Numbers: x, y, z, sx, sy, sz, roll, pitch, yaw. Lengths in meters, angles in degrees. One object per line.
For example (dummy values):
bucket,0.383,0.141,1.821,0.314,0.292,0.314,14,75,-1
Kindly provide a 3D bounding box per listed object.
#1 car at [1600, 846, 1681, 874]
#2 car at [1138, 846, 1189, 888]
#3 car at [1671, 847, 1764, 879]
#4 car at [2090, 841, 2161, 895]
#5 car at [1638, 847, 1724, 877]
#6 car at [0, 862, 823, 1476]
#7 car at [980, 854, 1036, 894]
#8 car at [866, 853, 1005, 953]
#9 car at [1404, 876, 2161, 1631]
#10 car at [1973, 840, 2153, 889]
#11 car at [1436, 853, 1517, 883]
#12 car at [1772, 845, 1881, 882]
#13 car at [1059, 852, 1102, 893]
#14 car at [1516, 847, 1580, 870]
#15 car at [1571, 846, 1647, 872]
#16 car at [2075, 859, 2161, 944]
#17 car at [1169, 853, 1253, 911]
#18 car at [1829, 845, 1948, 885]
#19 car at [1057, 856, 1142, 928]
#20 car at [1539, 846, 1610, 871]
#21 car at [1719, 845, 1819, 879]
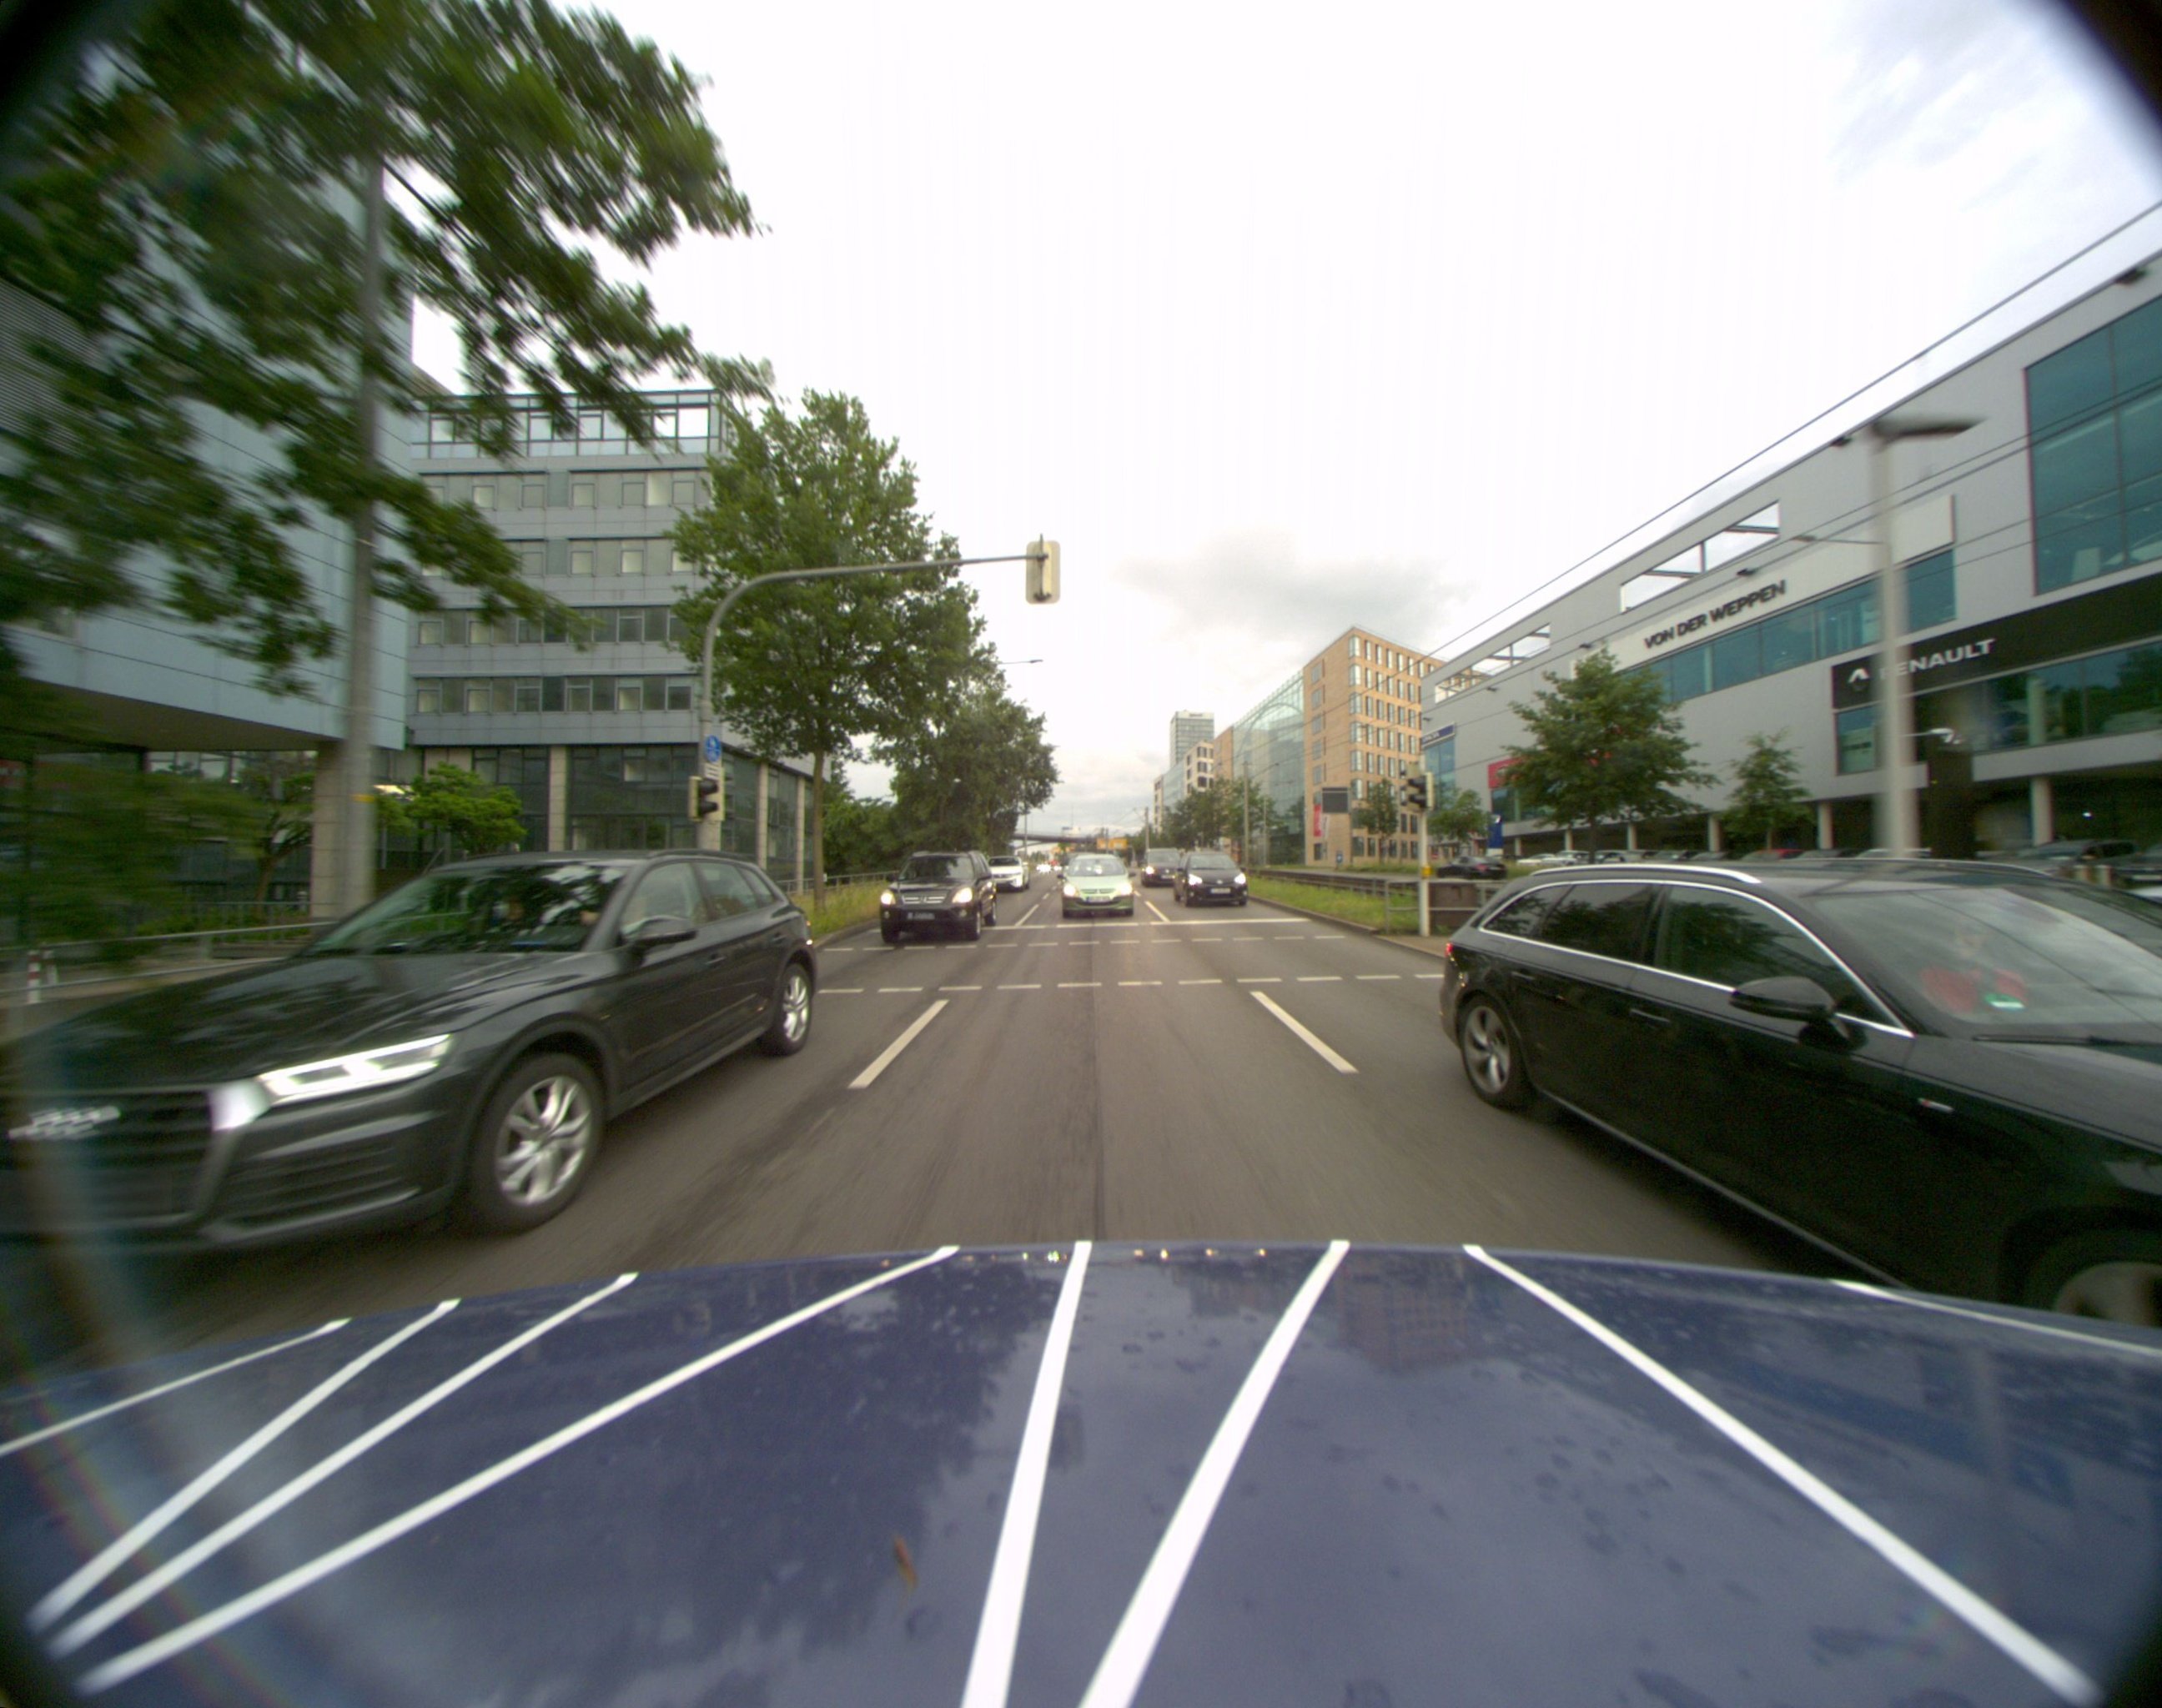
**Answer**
car,32.452,0.333,44.081,3.845,1.482,1.821,-1,0,-17
car,3.503,0.525,32.766,1.781,1.670,4.131,-1,0,1
car,32.371,0.429,38.653,3.845,1.482,1.821,-1,0,-17
car,32.261,0.357,22.028,3.999,1.482,1.823,-1,0,-6
car,32.545,0.409,41.242,3.845,1.482,1.821,-1,0,-17
car,-3.155,0.913,4.301,1.816,1.660,4.370,-1,0,1
car,-2.985,0.776,31.849,1.873,1.533,4.107,-1,0,1
car,-2.695,0.833,15.155,1.816,1.660,4.549,-1,0,1
car,3.136,0.879,2.894,1.794,1.426,4.828,-1,0,1
car,32.615,0.320,25.297,3.999,1.482,1.823,-1,0,-6
car,21.773,0.716,42.056,1.998,1.428,4.873,-2,1,1
car,32.776,0.402,33.437,3.845,1.482,1.821,-1,0,-17
car,0.014,0.701,31.061,1.598,1.533,3.707,-1,0,1
car,32.036,0.274,52.117,3.846,1.482,1.820,-1,0,-22
car,32.491,0.314,46.768,3.845,1.482,1.821,-1,0,-17
car,19.302,0.821,11.562,1.998,1.381,4.873,-2,1,1
car,3.635,0.729,21.874,1.798,1.493,4.000,-1,0,1
car,32.754,0.431,30.843,3.845,1.482,1.821,-1,0,-17
car,0.431,0.825,18.623,1.803,1.533,4.374,-1,0,1
car,32.140,0.292,49.523,3.845,1.482,1.821,-1,0,-17
car,32.495,0.383,35.899,3.845,1.482,1.821,-1,0,-17
